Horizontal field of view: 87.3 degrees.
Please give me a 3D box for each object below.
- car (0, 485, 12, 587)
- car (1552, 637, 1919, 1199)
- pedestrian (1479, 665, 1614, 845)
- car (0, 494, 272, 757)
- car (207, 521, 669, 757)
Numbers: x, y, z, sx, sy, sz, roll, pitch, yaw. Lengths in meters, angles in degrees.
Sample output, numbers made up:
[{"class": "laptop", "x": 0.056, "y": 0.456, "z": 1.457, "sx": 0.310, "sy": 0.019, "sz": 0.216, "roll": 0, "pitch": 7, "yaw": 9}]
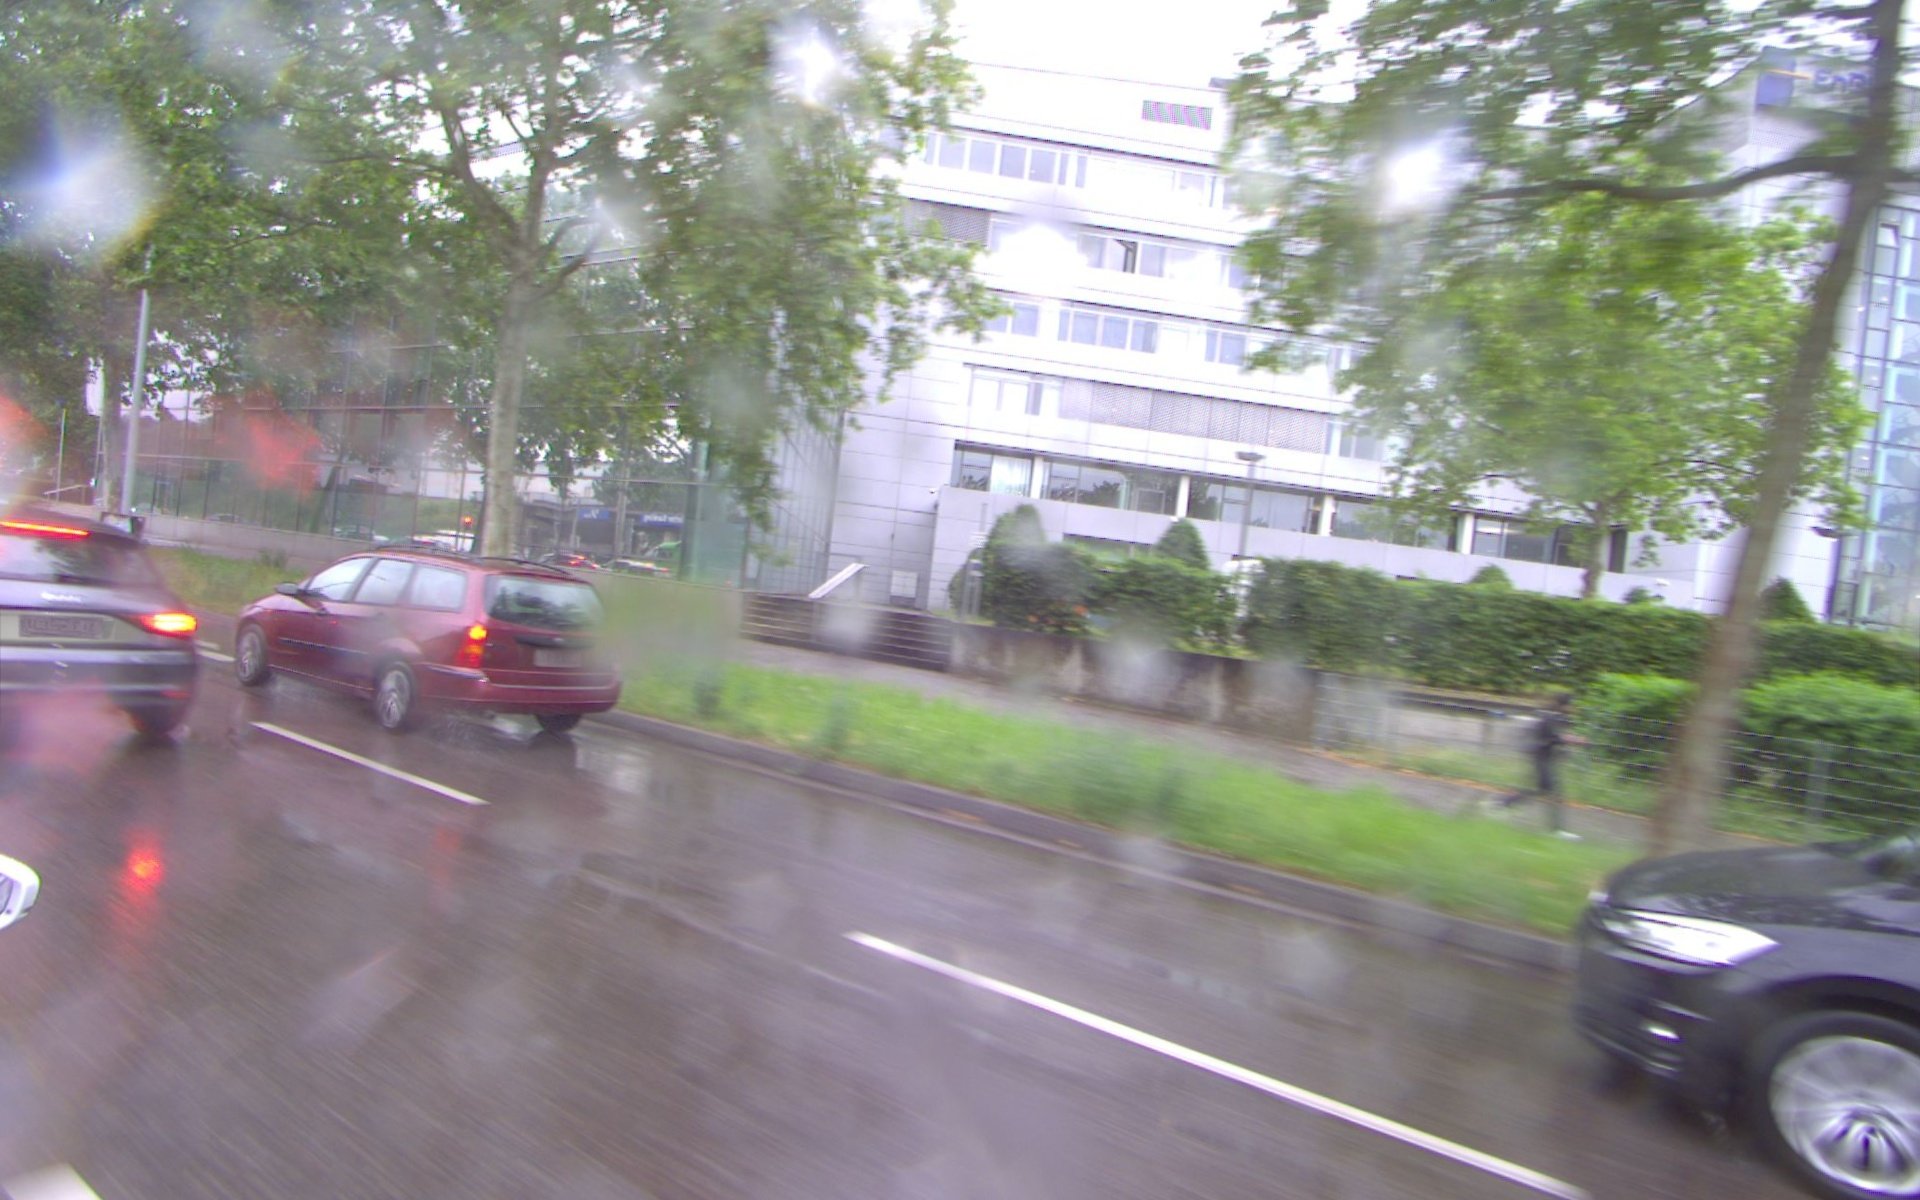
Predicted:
[{"class": "car", "x": -12.062, "y": -0.693, "z": 10.733, "sx": 3.932, "sy": 1.568, "sz": 1.711, "roll": 8, "pitch": 0, "yaw": 30}, {"class": "car", "x": 4.452, "y": 1.294, "z": 3.322, "sx": 4.120, "sy": 1.746, "sz": 1.860, "roll": 7, "pitch": -1, "yaw": 31}, {"class": "pedestrian", "x": 6.509, "y": 1.692, "z": 11.223, "sx": 1.057, "sy": 1.783, "sz": 0.665, "roll": 7, "pitch": 0, "yaw": 26}, {"class": "car", "x": -6.893, "y": -0.010, "z": 6.902, "sx": 3.933, "sy": 1.469, "sz": 1.998, "roll": 6, "pitch": -1, "yaw": 30}, {"class": "car", "x": -4.899, "y": 0.289, "z": 9.324, "sx": 4.043, "sy": 1.555, "sz": 1.843, "roll": 6, "pitch": -2, "yaw": 31}]
